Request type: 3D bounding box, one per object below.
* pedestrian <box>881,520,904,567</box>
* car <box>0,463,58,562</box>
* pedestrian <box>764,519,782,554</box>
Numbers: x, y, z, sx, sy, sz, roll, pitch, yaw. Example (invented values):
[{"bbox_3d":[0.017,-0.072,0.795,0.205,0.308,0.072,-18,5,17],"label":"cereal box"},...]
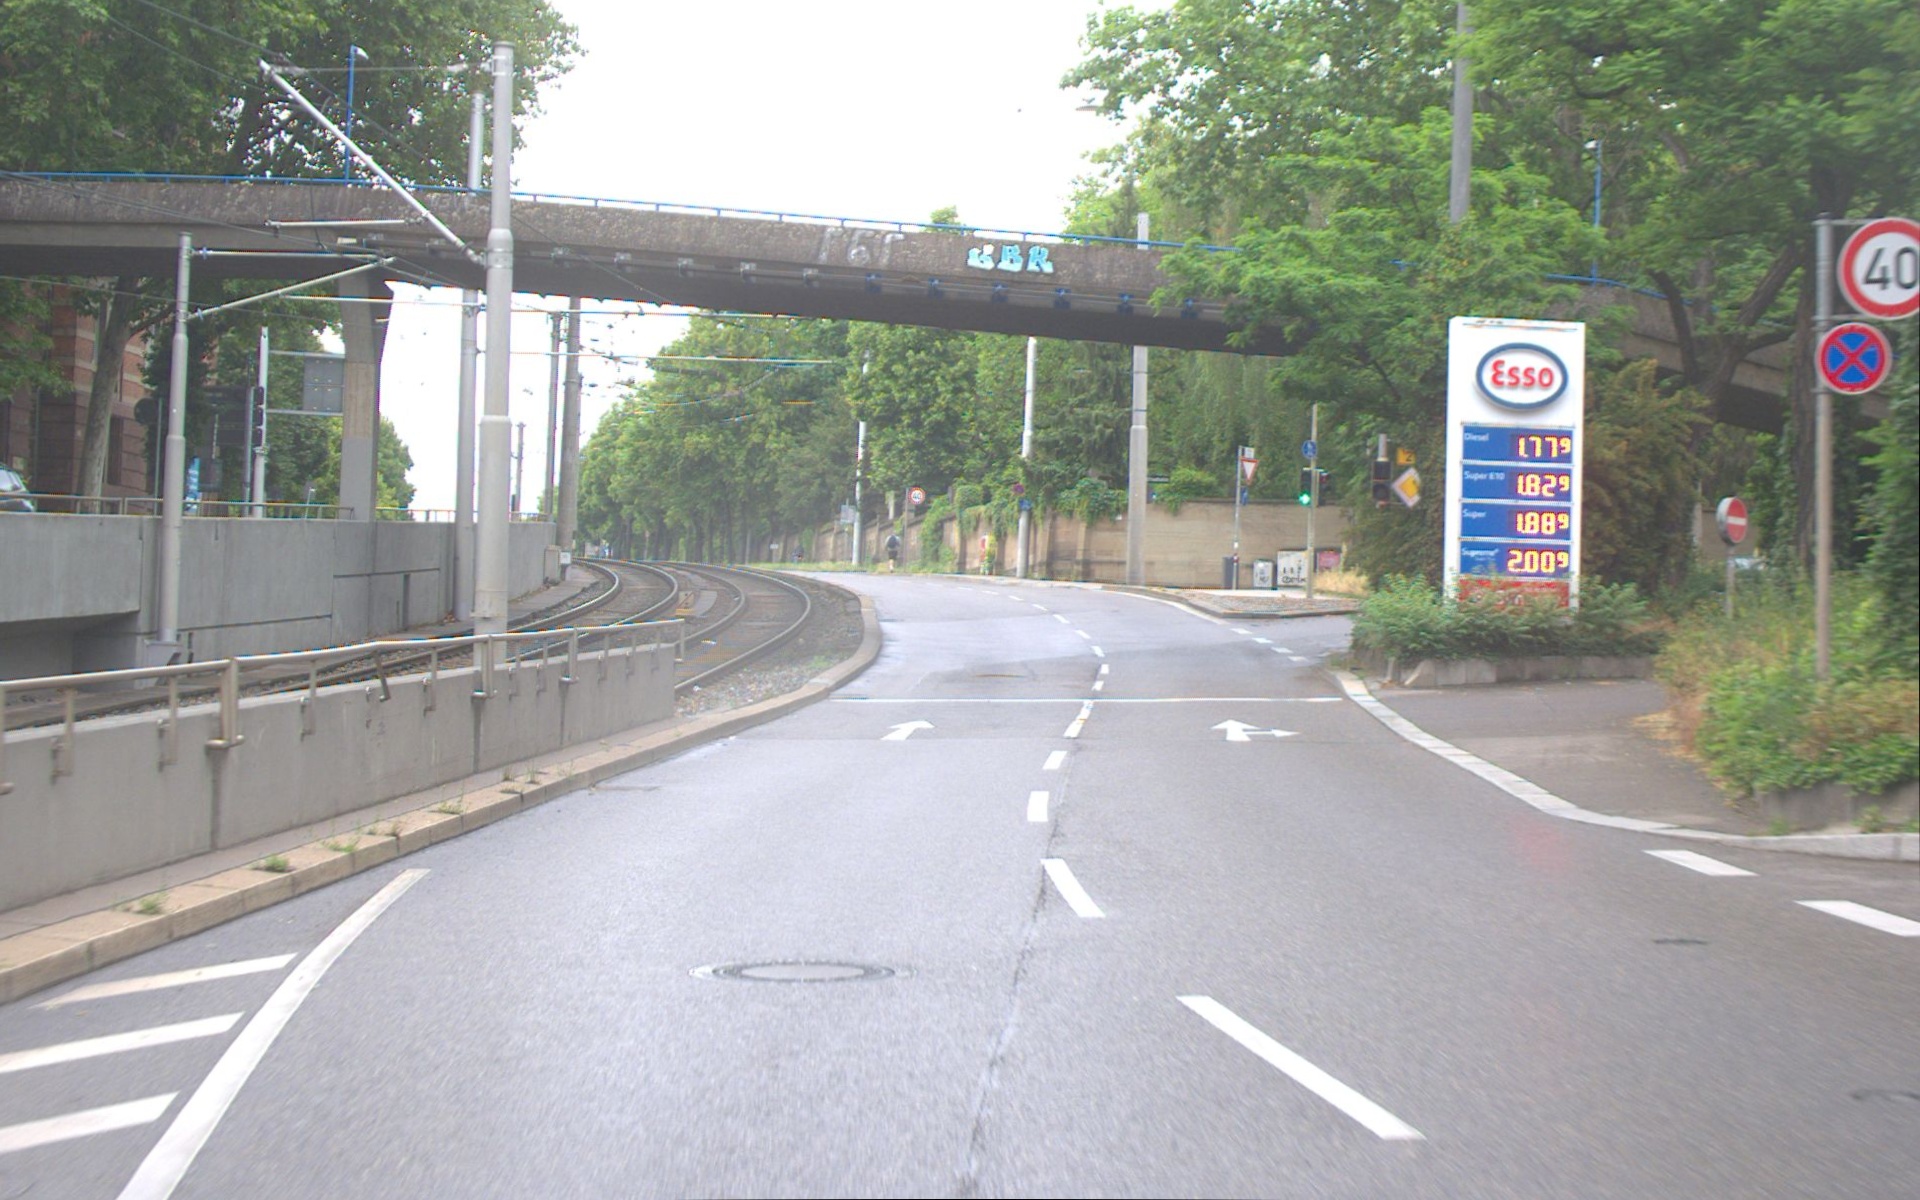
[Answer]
[{"bbox_3d":[-2.736,-2.268,138.433,0.719,1.843,0.783,3,0,-9],"label":"pedestrian"},{"bbox_3d":[-15.393,-1.386,52.463,1.794,1.505,4.107,4,1,5],"label":"car"},{"bbox_3d":[-9.253,-3.155,169.686,0.719,1.681,0.729,3,0,-9],"label":"pedestrian"}]
